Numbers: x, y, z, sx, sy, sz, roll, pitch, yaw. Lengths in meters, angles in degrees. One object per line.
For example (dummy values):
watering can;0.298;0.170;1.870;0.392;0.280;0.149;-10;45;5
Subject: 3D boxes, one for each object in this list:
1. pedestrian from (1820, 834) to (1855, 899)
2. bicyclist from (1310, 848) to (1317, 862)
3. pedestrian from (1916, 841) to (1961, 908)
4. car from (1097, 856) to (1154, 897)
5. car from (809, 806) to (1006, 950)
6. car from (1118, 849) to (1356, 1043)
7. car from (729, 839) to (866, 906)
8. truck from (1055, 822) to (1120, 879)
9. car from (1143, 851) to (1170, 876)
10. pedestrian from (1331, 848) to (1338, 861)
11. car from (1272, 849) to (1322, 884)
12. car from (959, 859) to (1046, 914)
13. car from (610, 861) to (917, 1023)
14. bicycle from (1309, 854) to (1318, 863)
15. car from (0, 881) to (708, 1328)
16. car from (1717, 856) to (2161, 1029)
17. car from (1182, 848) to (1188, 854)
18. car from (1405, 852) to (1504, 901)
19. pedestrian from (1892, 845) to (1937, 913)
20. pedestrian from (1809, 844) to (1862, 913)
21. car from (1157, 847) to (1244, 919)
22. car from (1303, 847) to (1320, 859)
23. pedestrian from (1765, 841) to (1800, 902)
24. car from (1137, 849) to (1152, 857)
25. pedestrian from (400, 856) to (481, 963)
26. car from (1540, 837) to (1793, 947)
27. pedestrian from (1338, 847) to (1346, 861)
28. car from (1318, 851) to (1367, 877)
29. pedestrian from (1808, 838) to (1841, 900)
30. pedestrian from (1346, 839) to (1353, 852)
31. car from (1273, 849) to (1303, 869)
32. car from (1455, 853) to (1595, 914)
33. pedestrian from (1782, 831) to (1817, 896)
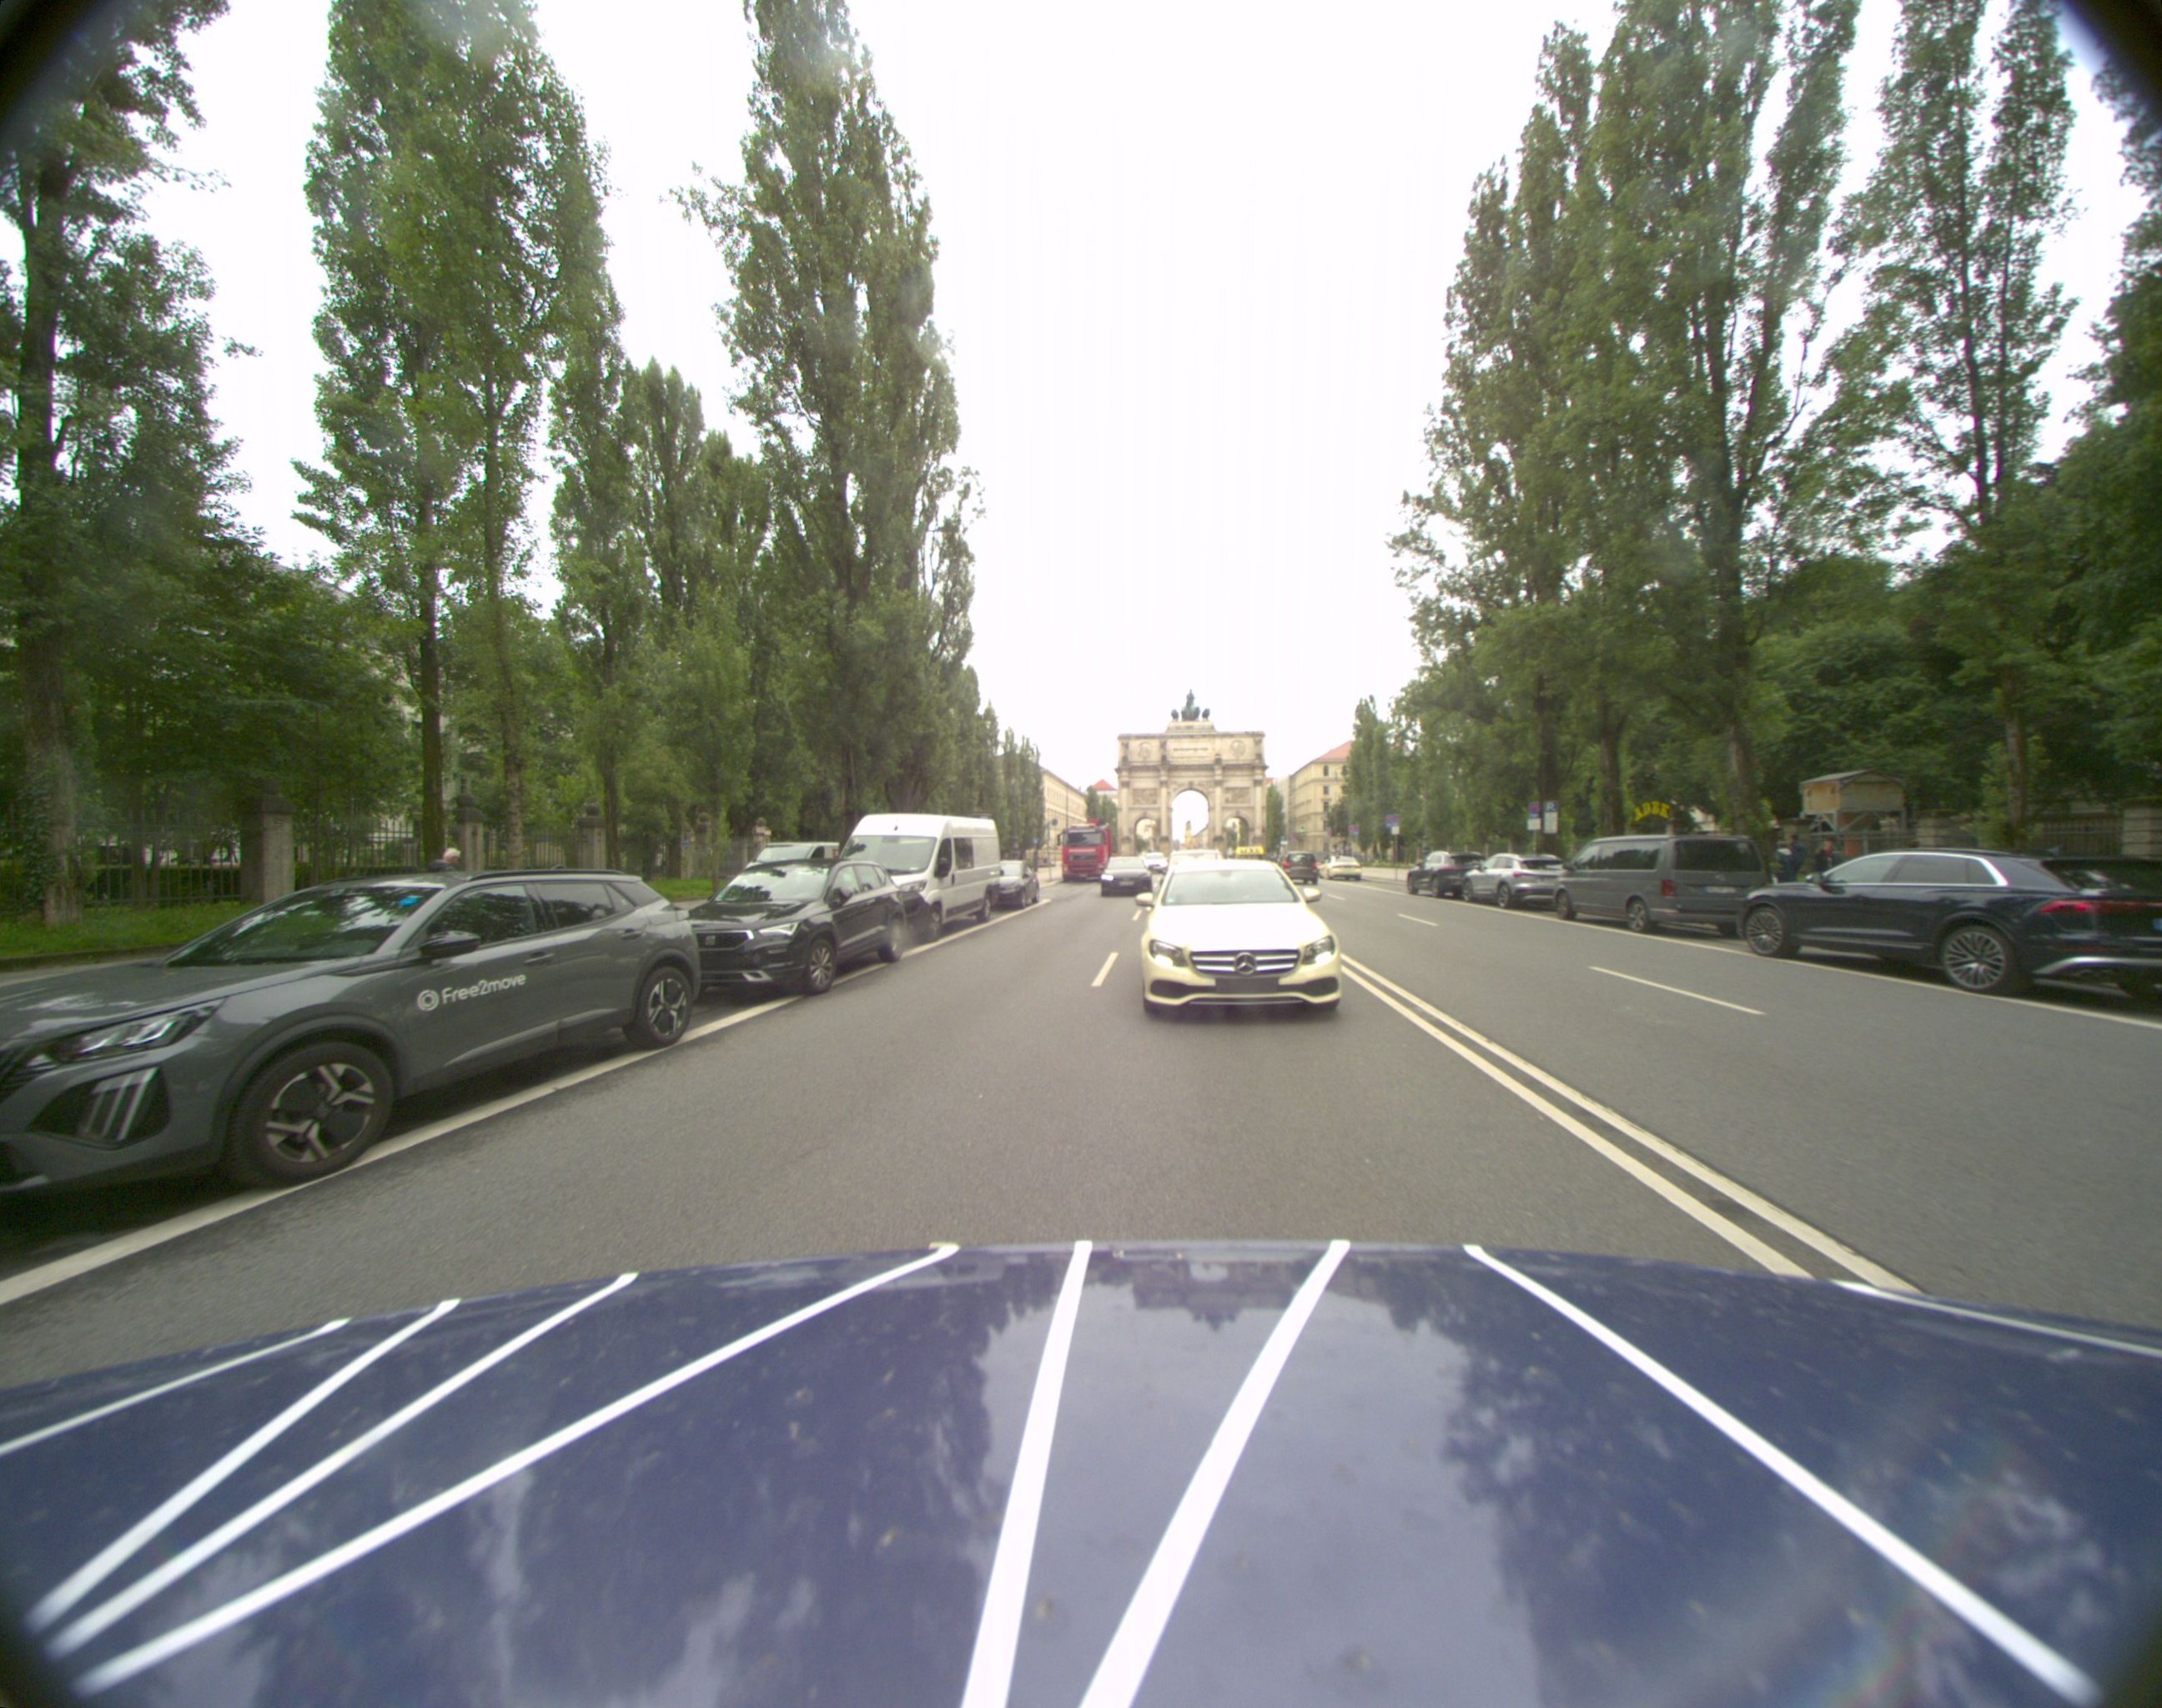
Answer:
pedestrian;22.987;0.378;23.094;0.550;1.948;0.532;-1;1;6
bicyclist;24.785;0.130;80.998;0.695;1.489;0.862;0;1;10
pedestrian;21.667;0.500;19.204;0.550;1.659;0.532;-1;1;6
car;1.762;0.797;28.836;1.921;1.320;4.413;-2;1;6
car;-3.360;0.414;16.451;2.078;2.464;6.286;-2;0;7
car;1.643;0.780;8.750;1.918;1.566;4.692;-2;1;8
car;-9.066;0.526;24.872;1.997;1.935;5.085;-1;1;8
truck;0.635;-0.199;46.465;2.719;3.092;10.431;0;0;7
car;5.895;0.701;58.855;1.888;1.846;4.315;-1;0;8
pedestrian;30.474;0.059;91.311;0.845;1.668;0.968;0;1;16
car;10.962;0.581;38.859;1.788;1.646;4.115;1;1;7
car;-2.317;0.926;23.360;1.758;1.441;4.002;-3;0;7
car;-3.759;0.935;9.954;1.824;1.581;4.225;-1;0;7
bicycle;24.787;0.509;80.925;0.708;0.933;1.736;-1;0;10
car;-4.484;1.033;4.965;1.655;1.495;4.115;-2;0;7
car;11.085;0.882;9.862;1.818;1.599;5.055;2;1;7
car;34.319;-0.978;251.315;1.997;2.002;4.397;0;0;7
car;13.394;0.725;27.565;1.785;1.587;4.616;1;0;7
pedestrian;21.108;0.623;19.241;0.550;1.691;0.532;-1;1;6
pedestrian;19.173;0.616;19.311;0.583;1.710;0.787;-1;1;6
car;3.089;0.668;20.129;1.952;1.615;4.413;-2;1;7
car;37.601;-0.126;124.026;2.002;1.844;4.993;1;1;9
pedestrian;20.222;0.494;21.909;0.550;1.737;0.532;-1;1;6
car;13.458;-0.284;161.084;1.784;1.739;4.327;0;0;23
pedestrian;-10.188;0.868;12.106;0.716;1.650;0.633;-1;1;6
car;12.128;0.680;16.291;1.997;1.945;4.939;1;0;7
pedestrian;31.252;0.046;90.856;0.845;1.668;0.968;0;1;16
car;15.828;0.591;46.263;1.934;1.488;4.793;0;0;8
pedestrian;22.317;0.449;22.812;0.434;1.824;0.612;-1;1;6
pedestrian;42.979;-1.335;121.760;0.796;2.002;0.754;-1;1;-28
car;18.351;0.414;67.526;1.822;1.550;4.861;1;1;7
car;13.113;0.789;22.816;1.894;1.575;4.656;1;0;7
pedestrian;21.807;0.279;23.060;0.550;1.948;0.532;-1;1;6
